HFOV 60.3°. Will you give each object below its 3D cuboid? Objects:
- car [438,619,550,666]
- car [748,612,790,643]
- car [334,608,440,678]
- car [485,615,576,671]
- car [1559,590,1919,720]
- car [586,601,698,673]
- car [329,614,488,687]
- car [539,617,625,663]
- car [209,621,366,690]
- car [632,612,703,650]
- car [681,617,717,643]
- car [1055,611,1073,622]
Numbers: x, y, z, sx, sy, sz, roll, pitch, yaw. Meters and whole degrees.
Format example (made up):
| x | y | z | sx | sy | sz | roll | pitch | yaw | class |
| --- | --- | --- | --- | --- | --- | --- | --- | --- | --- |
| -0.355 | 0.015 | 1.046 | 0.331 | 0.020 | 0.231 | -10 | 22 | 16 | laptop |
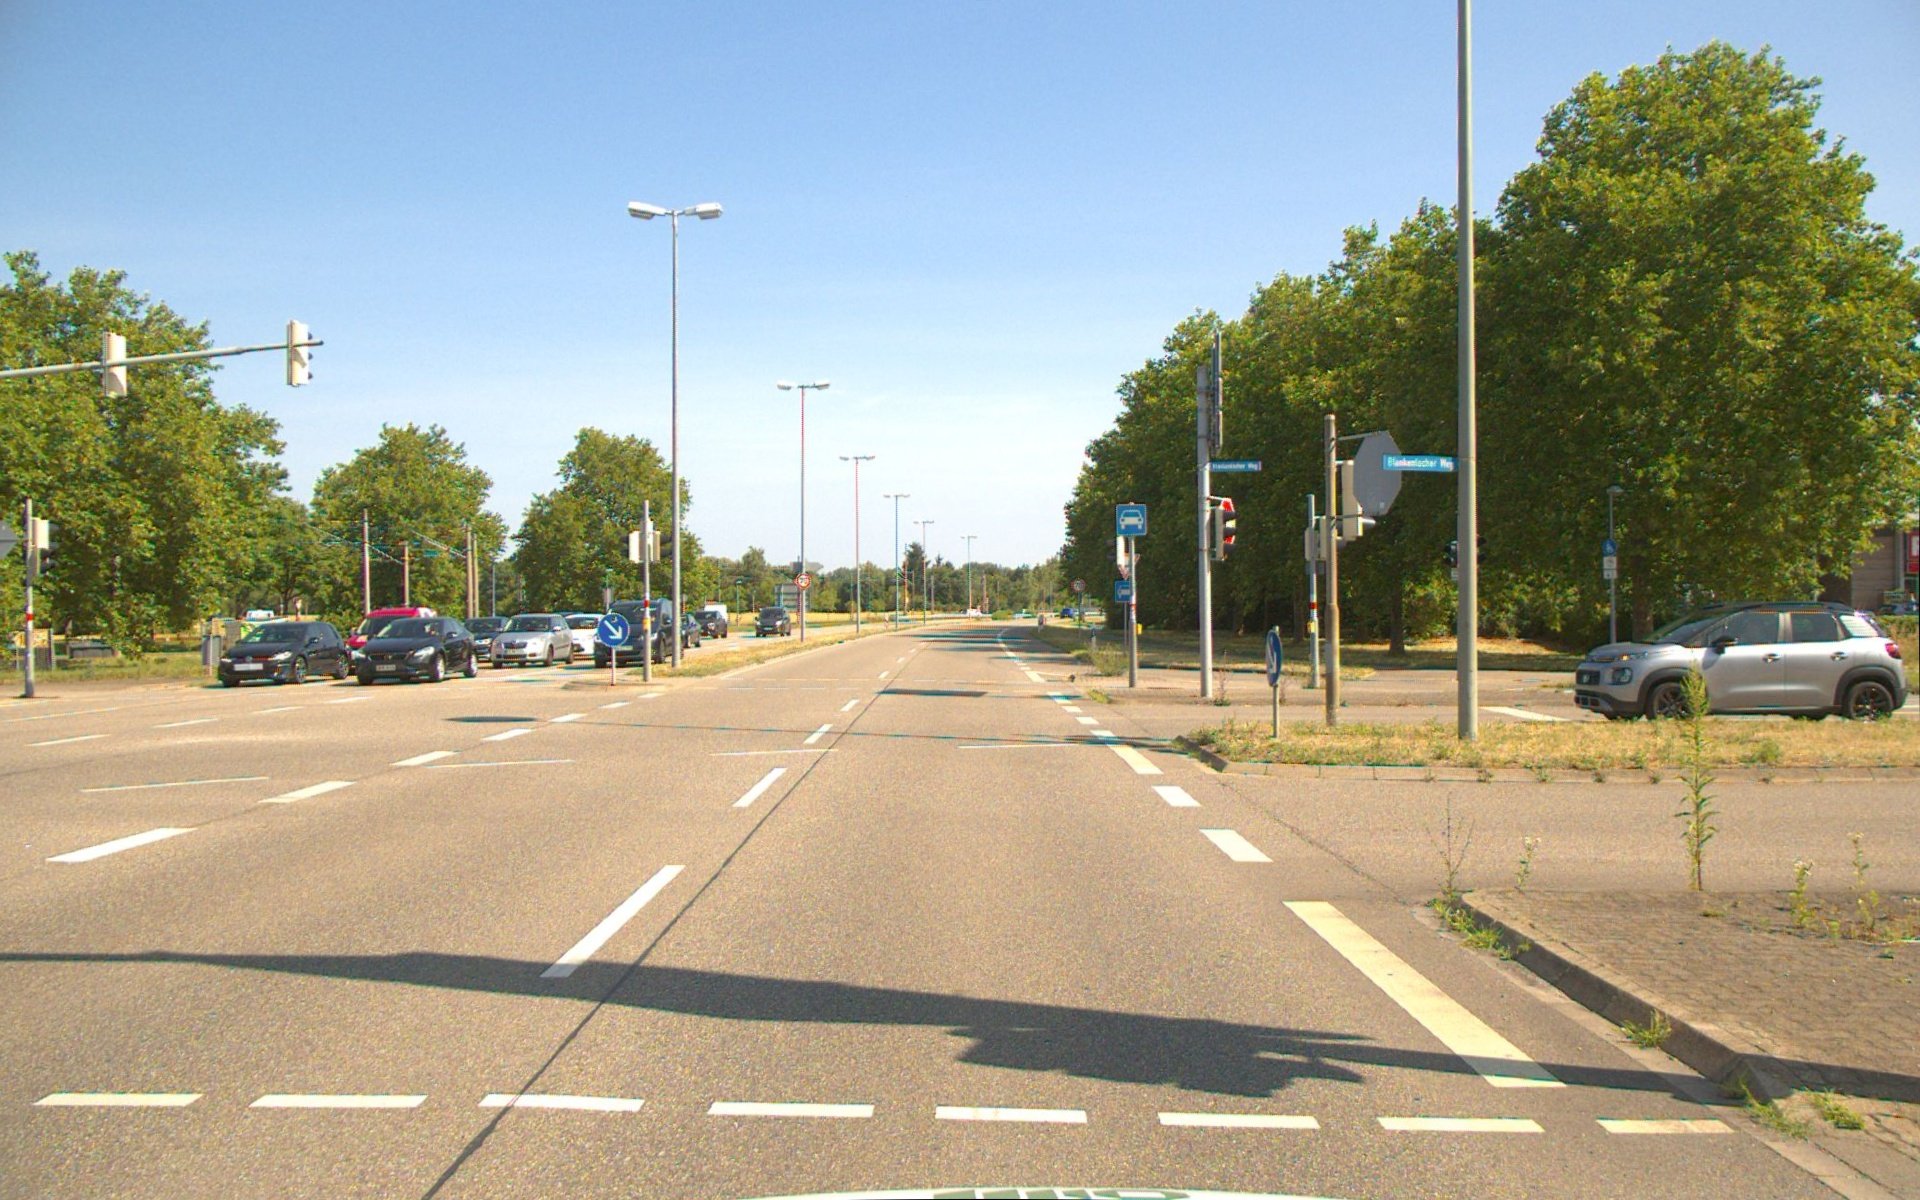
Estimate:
| x | y | z | sx | sy | sz | roll | pitch | yaw | class |
| --- | --- | --- | --- | --- | --- | --- | --- | --- | --- |
| -15.706 | 1.409 | 56.056 | 1.952 | 1.500 | 5.618 | -1 | -1 | 3 | car |
| -11.661 | 1.651 | 101.109 | 1.940 | 1.811 | 4.490 | -1 | 0 | 1 | car |
| -15.855 | 1.145 | 45.980 | 1.670 | 1.801 | 4.226 | -2 | 0 | -4 | car |
| -12.138 | 1.193 | 46.944 | 1.586 | 1.483 | 3.871 | -1 | 0 | -1 | car |
| 10.256 | 0.707 | 21.969 | 3.969 | 1.591 | 1.742 | -1 | -1 | -1 | car |
| -8.397 | 0.951 | 44.109 | 1.940 | 1.781 | 4.509 | -1 | 0 | 2 | car |
| -12.166 | 1.075 | 36.792 | 1.940 | 1.483 | 4.333 | -1 | 0 | 2 | car |
| -12.344 | 1.295 | 54.186 | 1.790 | 1.410 | 3.844 | -1 | 0 | 2 | car |
| -15.813 | 1.273 | 39.145 | 1.846 | 1.483 | 4.230 | -1 | 0 | 2 | car |
| -11.993 | 1.270 | 68.116 | 1.940 | 1.483 | 4.451 | -1 | 0 | 2 | car |
| -15.486 | 1.777 | 98.256 | 1.944 | 1.483 | 4.222 | -1 | 0 | -8 | car |
| 14.367 | 2.258 | 228.076 | 1.939 | 1.483 | 4.121 | -1 | 0 | 10 | car |
